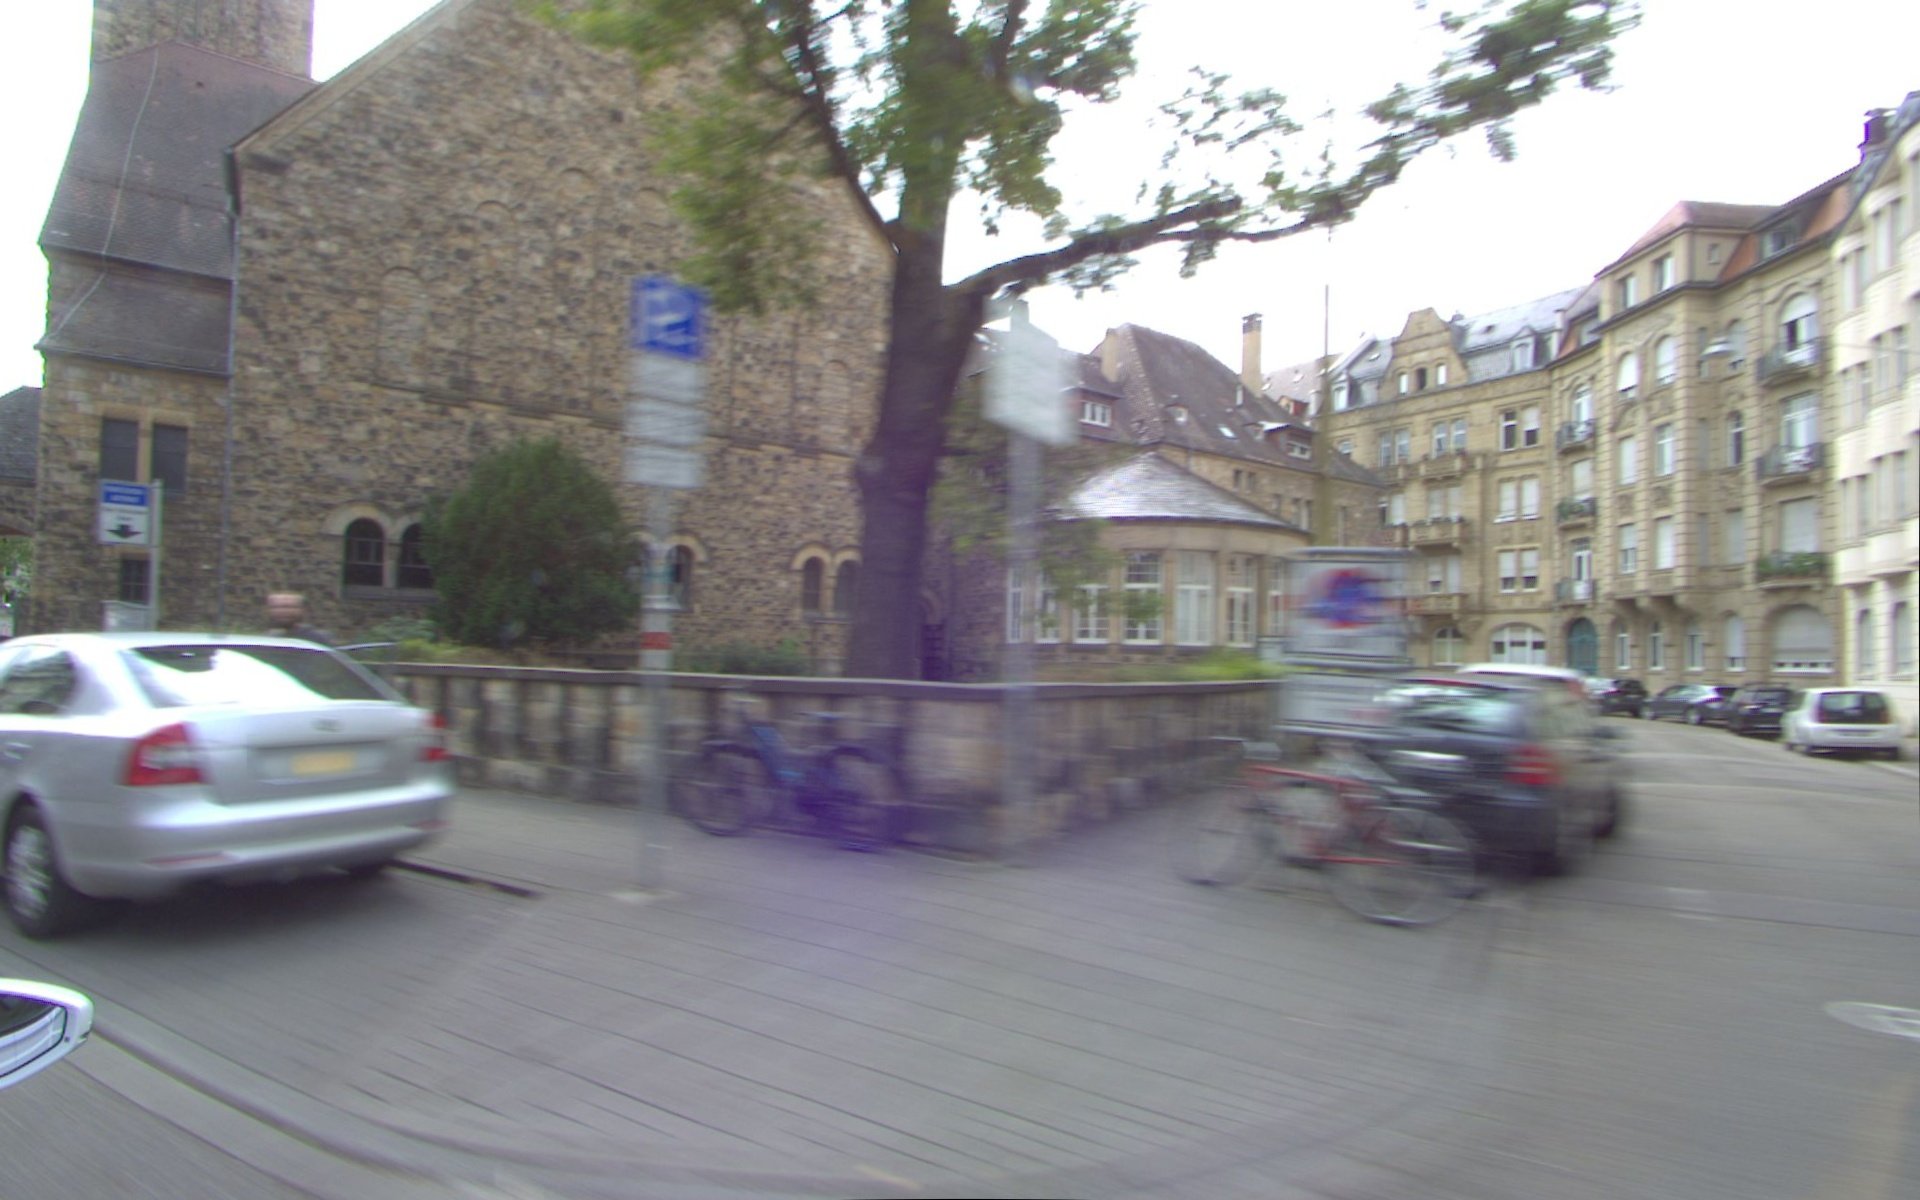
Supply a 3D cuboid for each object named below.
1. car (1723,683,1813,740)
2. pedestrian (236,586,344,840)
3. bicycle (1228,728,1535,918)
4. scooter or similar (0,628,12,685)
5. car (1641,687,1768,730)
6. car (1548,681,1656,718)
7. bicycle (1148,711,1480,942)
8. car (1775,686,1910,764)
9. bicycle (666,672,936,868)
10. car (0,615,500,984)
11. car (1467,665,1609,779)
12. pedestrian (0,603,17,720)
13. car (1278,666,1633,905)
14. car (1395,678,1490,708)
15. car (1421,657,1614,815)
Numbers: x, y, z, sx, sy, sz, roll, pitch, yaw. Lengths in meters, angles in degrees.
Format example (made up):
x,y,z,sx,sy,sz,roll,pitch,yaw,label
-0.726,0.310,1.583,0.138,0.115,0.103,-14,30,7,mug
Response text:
x,y,z,sx,sy,sz,roll,pitch,yaw,label
24.126,3.331,30.030,1.614,1.548,4.067,-2,-6,33,car
-4.853,0.795,7.258,0.404,1.757,0.467,0,-2,31,pedestrian
2.765,1.417,6.665,1.794,0.928,0.521,2,-2,33,bicycle
-21.135,1.215,21.804,0.540,1.222,1.469,3,-3,-39,scooter or similar
26.288,3.831,35.555,1.605,1.395,4.159,1,-5,4,car
26.312,4.091,41.225,1.605,1.395,4.158,2,-5,-3,car
2.107,1.290,6.072,1.794,1.063,0.521,2,-2,33,bicycle
19.478,2.704,22.276,1.614,1.469,4.018,-2,-4,33,car
-1.134,1.101,6.914,1.950,1.119,0.521,1,-3,33,bicycle
-4.915,0.863,5.958,4.352,1.487,1.754,0,-3,30,car
9.959,1.975,17.137,1.821,1.555,4.018,3,-1,33,car
-14.557,0.912,14.879,0.521,1.741,0.509,1,-2,10,pedestrian
4.456,1.364,8.659,1.886,1.487,4.009,-1,-4,40,car
24.230,4.663,50.426,1.614,1.395,4.136,4,-6,-28,car
7.295,1.604,12.945,1.821,1.555,4.018,3,-1,33,car
